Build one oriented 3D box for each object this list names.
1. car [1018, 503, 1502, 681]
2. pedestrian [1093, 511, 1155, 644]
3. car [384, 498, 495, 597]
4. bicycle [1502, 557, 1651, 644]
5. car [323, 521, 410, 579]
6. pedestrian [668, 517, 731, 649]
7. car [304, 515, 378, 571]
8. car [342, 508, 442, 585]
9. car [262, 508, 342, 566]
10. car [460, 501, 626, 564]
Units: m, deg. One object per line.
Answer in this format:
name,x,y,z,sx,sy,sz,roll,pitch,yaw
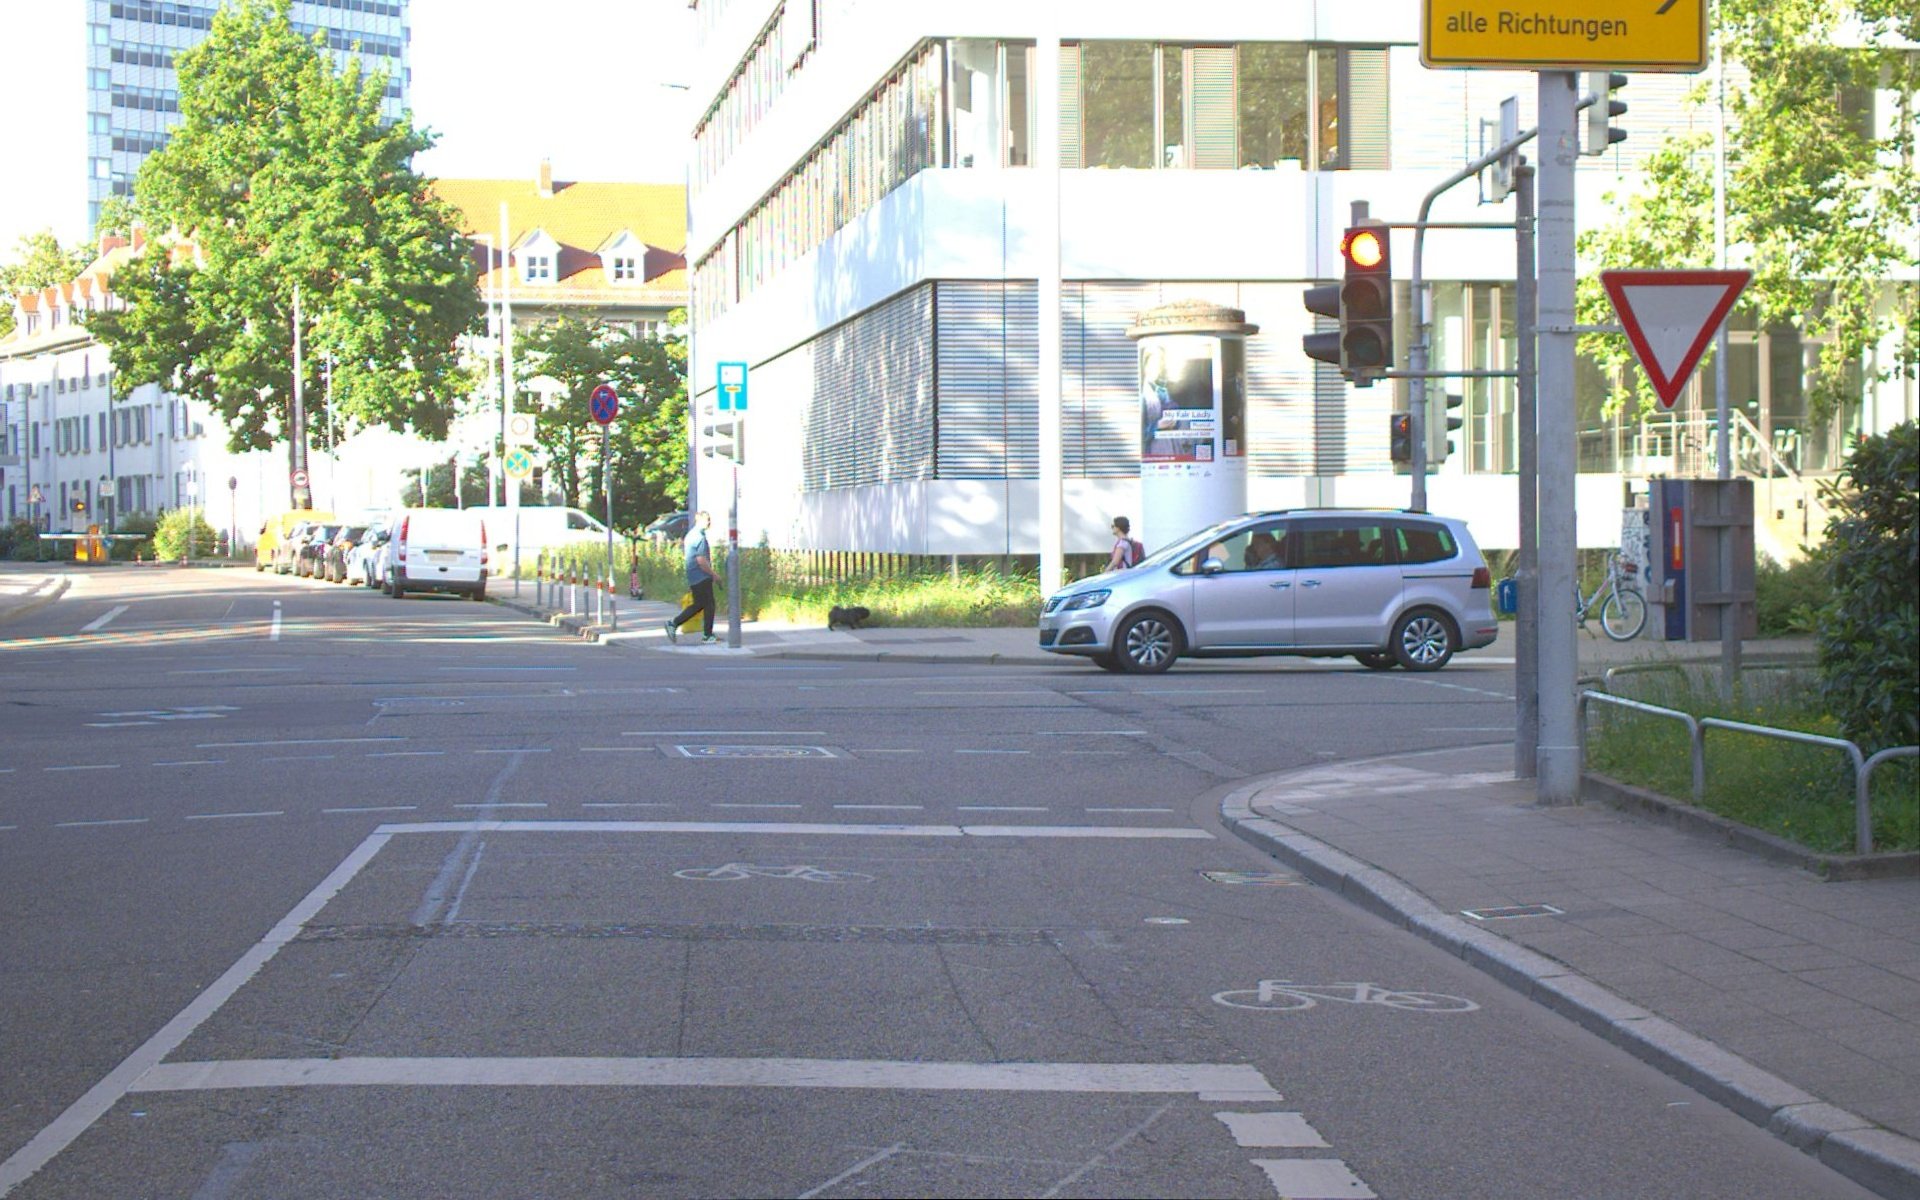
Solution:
car,3.119,-0.113,36.216,4.758,1.701,1.800,-2,1,-8
pedestrian,1.991,-0.271,41.579,0.712,1.594,0.617,0,1,5
car,-10.704,-1.089,70.462,2.066,1.956,4.239,-1,1,-11
bicycle,7.643,-0.003,42.689,0.463,1.045,1.914,-2,2,-44
car,-15.073,-1.286,87.185,1.703,1.419,4.239,-1,1,-16
pedestrian,-3.458,-0.235,45.581,0.652,1.730,0.812,-1,1,-17
car,-16.511,-1.528,91.557,1.703,1.459,4.239,-1,1,-13
car,-13.619,-1.293,82.236,1.946,1.789,4.239,-1,1,-15
car,-19.413,-1.867,101.277,2.100,1.652,4.477,-1,1,-13
car,-13.179,-2.118,108.705,4.880,1.865,2.001,1,0,-19
